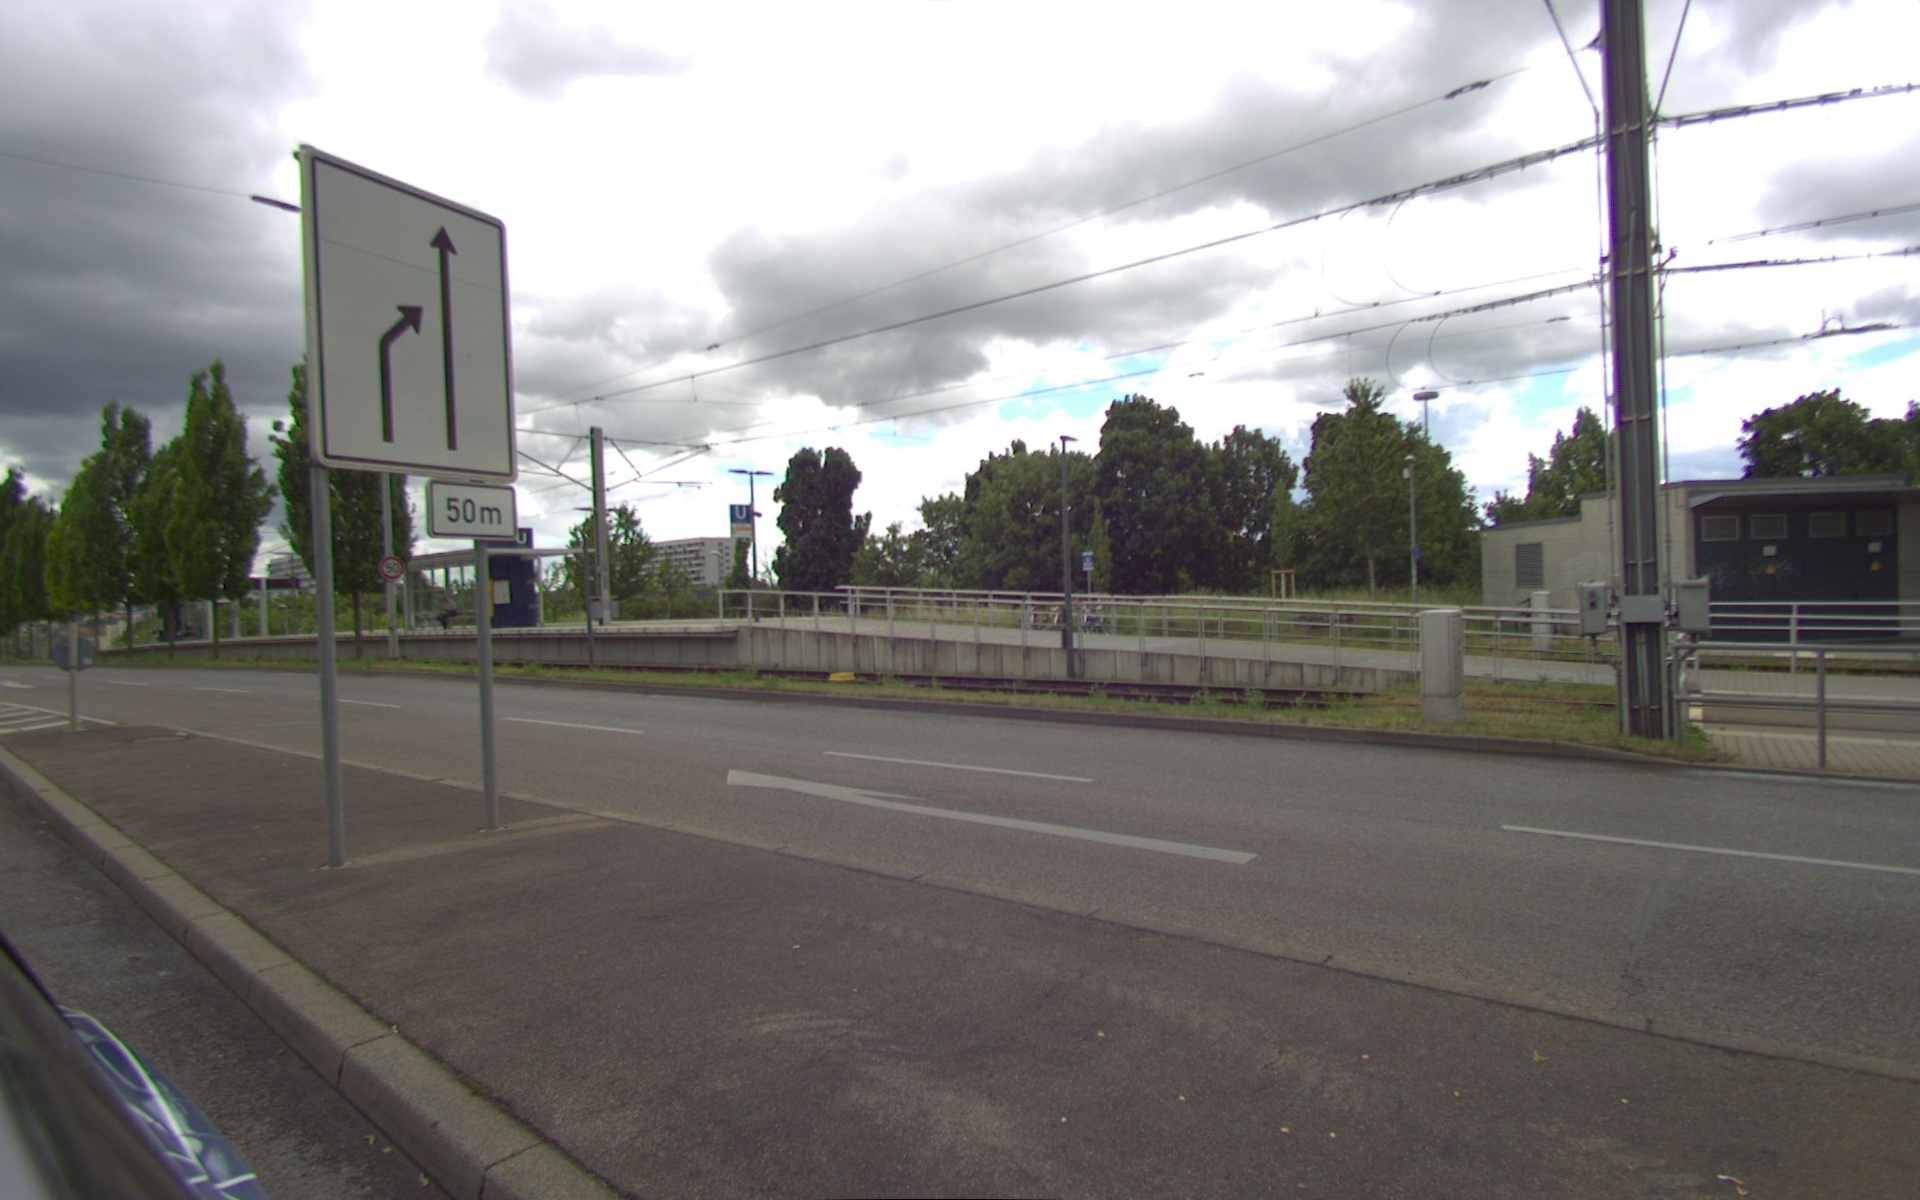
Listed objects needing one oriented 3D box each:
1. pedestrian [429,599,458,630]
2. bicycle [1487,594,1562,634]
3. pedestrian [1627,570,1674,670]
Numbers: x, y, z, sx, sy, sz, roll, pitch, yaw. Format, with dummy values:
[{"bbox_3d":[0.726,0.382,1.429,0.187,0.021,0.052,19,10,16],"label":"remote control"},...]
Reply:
[{"bbox_3d":[-20.345,0.565,39.885,0.837,1.184,0.741,0,0,40],"label":"pedestrian"},{"bbox_3d":[16.157,0.384,29.053,0.668,1.113,2.260,-1,0,-7],"label":"bicycle"},{"bbox_3d":[11.194,0.307,16.409,0.545,1.584,0.557,2,2,40],"label":"pedestrian"}]
